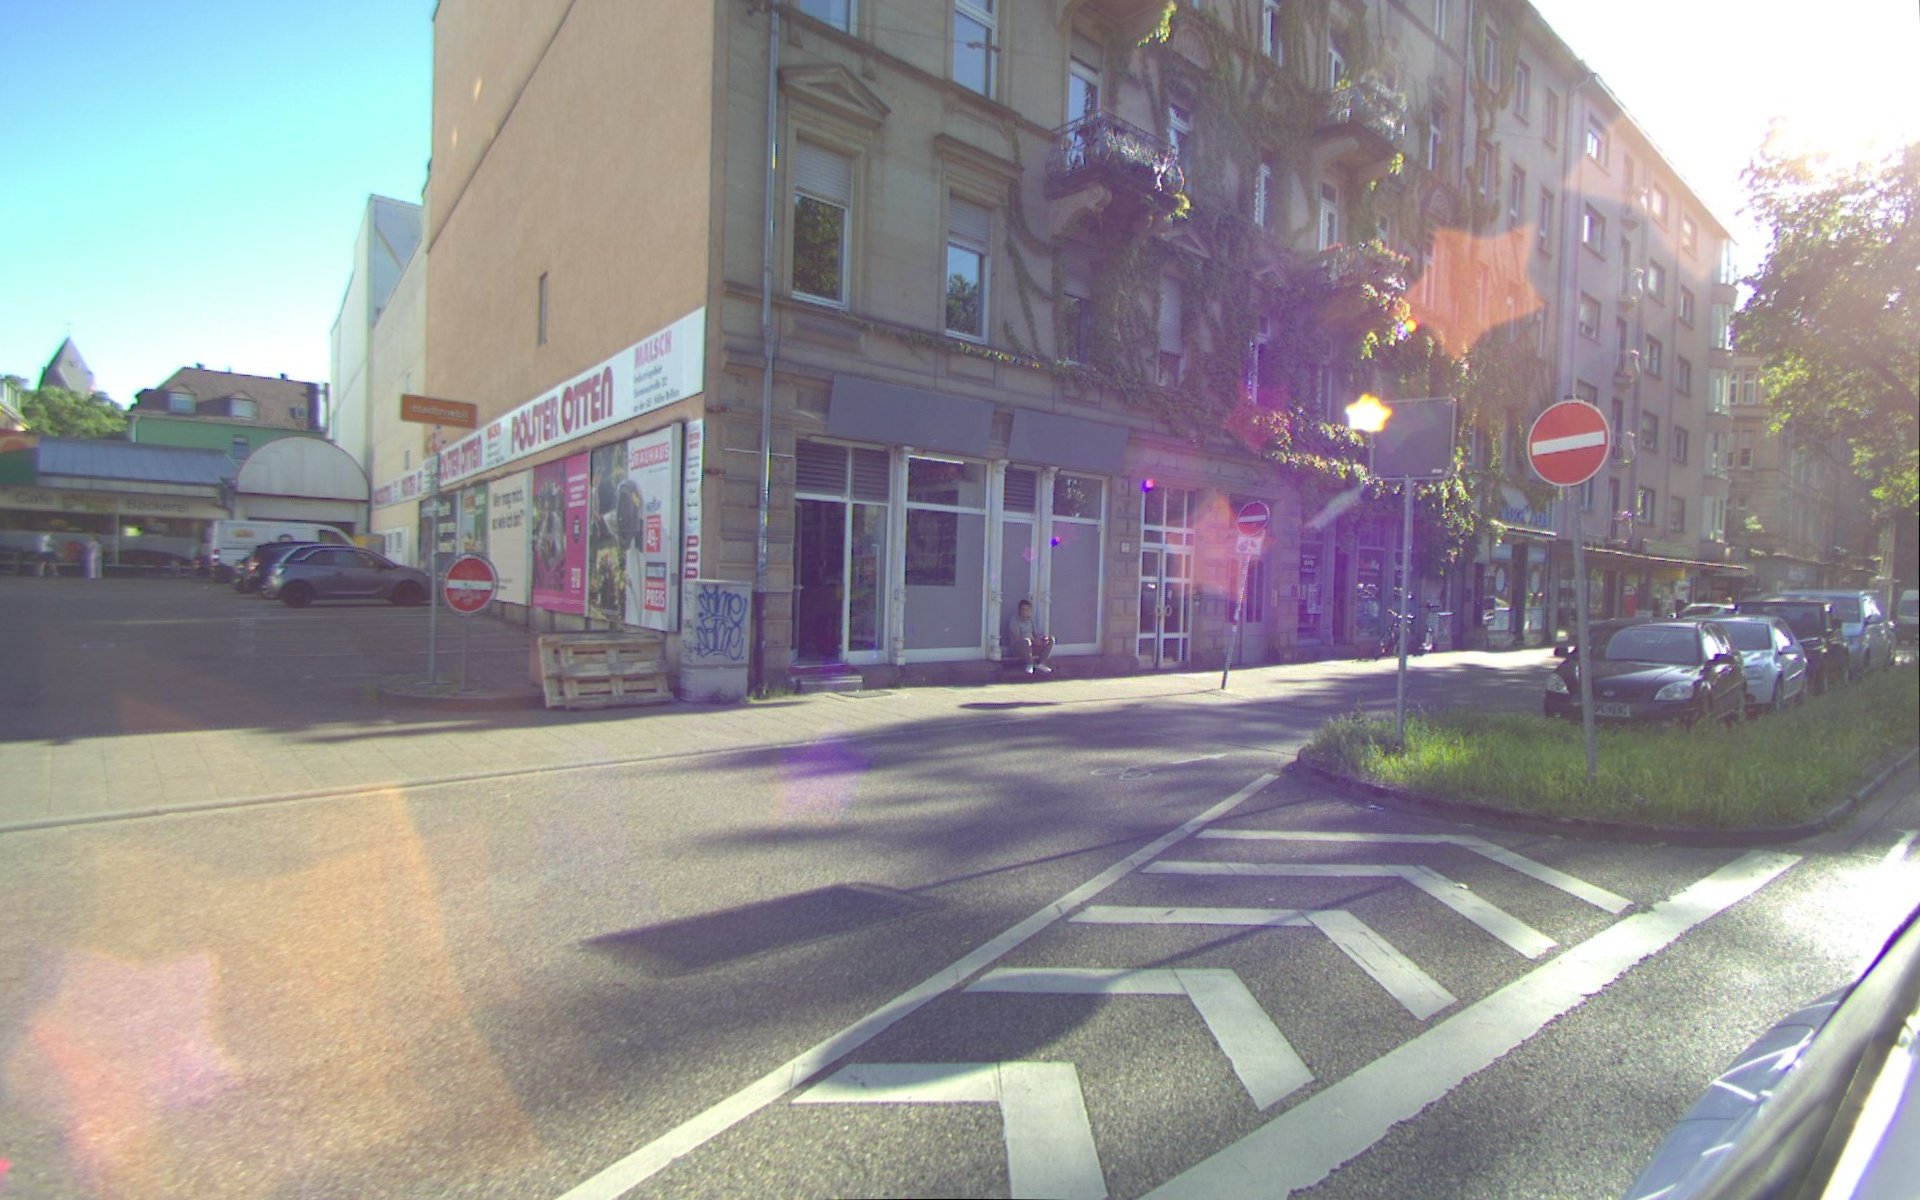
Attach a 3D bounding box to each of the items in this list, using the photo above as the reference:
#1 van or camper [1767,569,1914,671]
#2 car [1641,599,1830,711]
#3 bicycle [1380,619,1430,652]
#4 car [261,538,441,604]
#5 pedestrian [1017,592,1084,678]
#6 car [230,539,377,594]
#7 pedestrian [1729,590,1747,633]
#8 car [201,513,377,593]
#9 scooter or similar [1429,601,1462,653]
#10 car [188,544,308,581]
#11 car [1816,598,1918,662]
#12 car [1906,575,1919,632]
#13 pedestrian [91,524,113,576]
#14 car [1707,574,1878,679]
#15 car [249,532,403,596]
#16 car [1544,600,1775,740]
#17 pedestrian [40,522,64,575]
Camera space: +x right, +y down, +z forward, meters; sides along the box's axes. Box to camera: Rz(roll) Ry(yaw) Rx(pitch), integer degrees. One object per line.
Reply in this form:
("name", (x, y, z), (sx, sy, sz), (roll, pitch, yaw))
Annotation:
("van or camper", (19.988, 0.401, 22.894), (5.007, 2.038, 1.887), (0, 2, -42))
("car", (12.331, 0.774, 16.002), (3.932, 1.537, 1.740), (0, -1, -43))
("bicycle", (10.439, 0.827, 23.701), (1.486, 0.714, 0.469), (1, 1, -41))
("car", (-14.814, -0.710, 24.684), (3.579, 1.481, 1.680), (-1, 3, -39))
("pedestrian", (1.426, 0.533, 15.960), (0.701, 1.276, 0.717), (1, 4, -41))
("car", (-19.464, -0.991, 30.083), (3.576, 1.552, 1.682), (-1, 2, -35))
("pedestrian", (33.779, 0.486, 43.937), (0.507, 1.856, 0.469), (1, 1, -41))
("car", (-22.316, -1.525, 33.918), (4.785, 2.442, 1.713), (1, 1, -30))
("scooter or similar", (11.798, 0.633, 24.637), (0.631, 1.188, 1.720), (2, 1, 24))
("car", (-29.034, -1.525, 41.419), (3.922, 1.371, 1.760), (1, 2, -34))
("car", (23.547, 0.733, 26.244), (3.764, 1.497, 1.592), (0, 2, -43))
("car", (44.144, 0.165, 45.231), (5.753, 2.465, 2.078), (0, 1, -41))
("pedestrian", (-34.239, -2.006, 40.382), (0.636, 2.038, 0.561), (1, 1, -43))
("car", (16.094, 0.449, 19.514), (3.930, 1.786, 1.868), (0, 2, -41))
("car", (-17.803, -0.998, 28.476), (3.576, 1.690, 1.682), (-1, 2, -35))
("car", (9.100, 0.780, 13.052), (3.932, 1.537, 1.642), (0, -1, -43))
("pedestrian", (-35.363, -1.994, 39.417), (0.635, 2.038, 0.562), (1, 1, -41))
